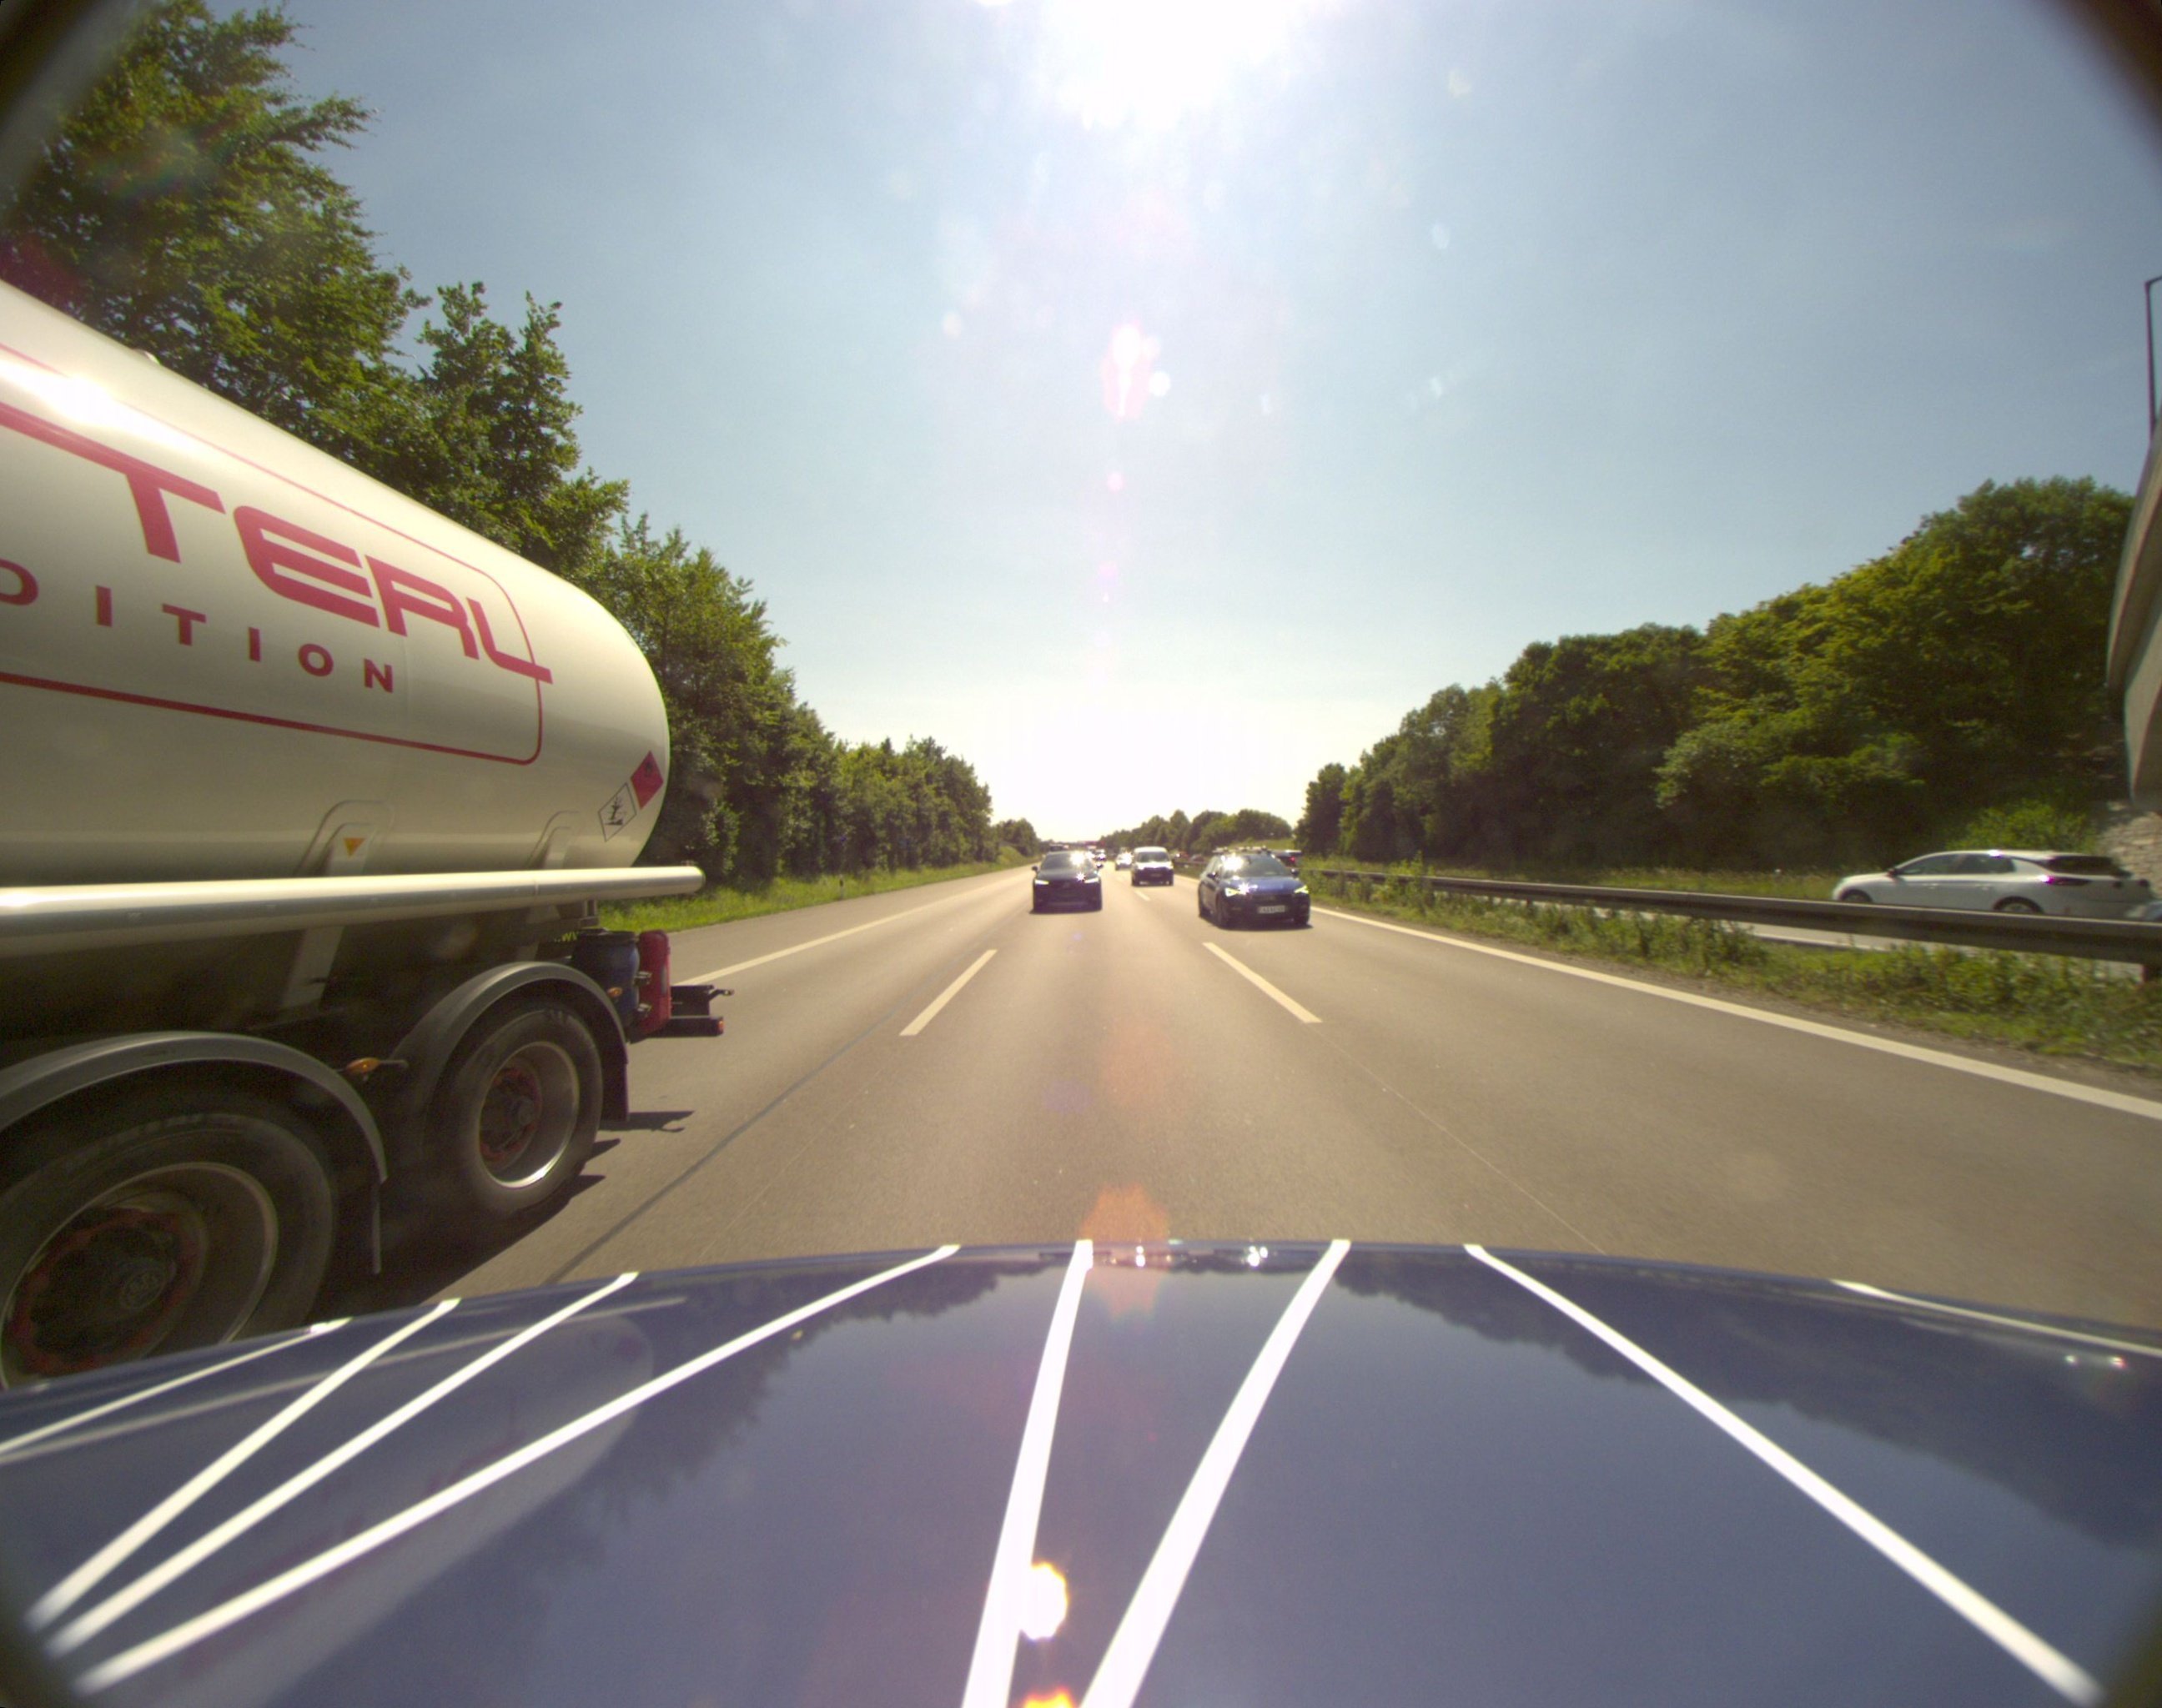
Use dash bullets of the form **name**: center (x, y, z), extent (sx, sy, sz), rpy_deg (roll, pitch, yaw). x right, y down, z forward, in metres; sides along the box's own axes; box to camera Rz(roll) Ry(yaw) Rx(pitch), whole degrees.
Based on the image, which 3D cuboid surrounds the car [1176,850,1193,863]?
- **car**: center (13.433, 0.334, 98.921), extent (1.801, 1.657, 4.128), rpy_deg (-1, 0, 2)

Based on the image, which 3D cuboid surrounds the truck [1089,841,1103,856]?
- **truck**: center (3.594, -1.360, 185.306), extent (3.242, 3.684, 10.934), rpy_deg (0, 0, 1)

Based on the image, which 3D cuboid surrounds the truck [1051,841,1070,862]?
- **truck**: center (-3.389, -0.445, 125.852), extent (2.965, 3.388, 8.046), rpy_deg (0, 1, -1)

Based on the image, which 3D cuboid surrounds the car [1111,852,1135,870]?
- **car**: center (3.821, 0.622, 70.119), extent (1.998, 1.540, 3.999), rpy_deg (-1, 1, 0)

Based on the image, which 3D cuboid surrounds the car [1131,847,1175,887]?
- **car**: center (3.359, 0.559, 36.102), extent (1.869, 1.713, 3.980), rpy_deg (-1, 1, 3)

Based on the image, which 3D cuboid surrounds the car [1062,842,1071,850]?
- **car**: center (-3.709, -2.016, 195.935), extent (1.998, 1.856, 4.228), rpy_deg (-1, 0, 1)

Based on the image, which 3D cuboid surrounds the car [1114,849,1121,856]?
- **car**: center (10.826, -0.493, 227.628), extent (1.855, 2.002, 3.999), rpy_deg (-1, 0, -1)

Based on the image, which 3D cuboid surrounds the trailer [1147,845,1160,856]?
- **trailer**: center (19.299, -0.888, 203.014), extent (2.738, 2.671, 8.629), rpy_deg (-1, 0, 0)

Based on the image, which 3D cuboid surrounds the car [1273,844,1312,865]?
- **car**: center (16.394, 0.022, 59.074), extent (1.864, 1.518, 4.214), rpy_deg (-1, 0, 1)

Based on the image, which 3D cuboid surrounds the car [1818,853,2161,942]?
- **car**: center (16.121, 0.655, 13.504), extent (1.779, 1.294, 4.368), rpy_deg (1, 0, 0)

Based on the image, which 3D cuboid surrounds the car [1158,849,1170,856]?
- **car**: center (16.820, -0.288, 154.263), extent (1.999, 1.388, 4.658), rpy_deg (-1, 1, 0)

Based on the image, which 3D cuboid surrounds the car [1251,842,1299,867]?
- **car**: center (12.391, 0.000, 48.805), extent (1.864, 1.518, 4.751), rpy_deg (-1, 0, 1)

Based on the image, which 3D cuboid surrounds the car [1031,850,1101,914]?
- **car**: center (-0.413, 0.743, 22.226), extent (1.812, 1.648, 3.999), rpy_deg (-2, 0, 0)

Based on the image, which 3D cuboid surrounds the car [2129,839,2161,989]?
- **car**: center (11.423, 0.617, 5.408), extent (1.779, 1.465, 4.419), rpy_deg (1, 0, 0)

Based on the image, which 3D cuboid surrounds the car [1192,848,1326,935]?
- **car**: center (3.686, 0.707, 16.517), extent (1.905, 1.616, 4.240), rpy_deg (-2, 0, 0)

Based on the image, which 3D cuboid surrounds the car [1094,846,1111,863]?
- **car**: center (4.154, 0.097, 148.627), extent (3.242, 3.094, 7.604), rpy_deg (0, 0, 1)

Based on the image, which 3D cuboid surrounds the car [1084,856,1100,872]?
- **car**: center (1.236, 1.121, 86.604), extent (1.743, 1.630, 3.844), rpy_deg (0, 1, 2)

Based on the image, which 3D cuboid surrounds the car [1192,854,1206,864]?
- **car**: center (20.084, 0.825, 129.692), extent (1.801, 1.545, 4.128), rpy_deg (1, 0, 2)
